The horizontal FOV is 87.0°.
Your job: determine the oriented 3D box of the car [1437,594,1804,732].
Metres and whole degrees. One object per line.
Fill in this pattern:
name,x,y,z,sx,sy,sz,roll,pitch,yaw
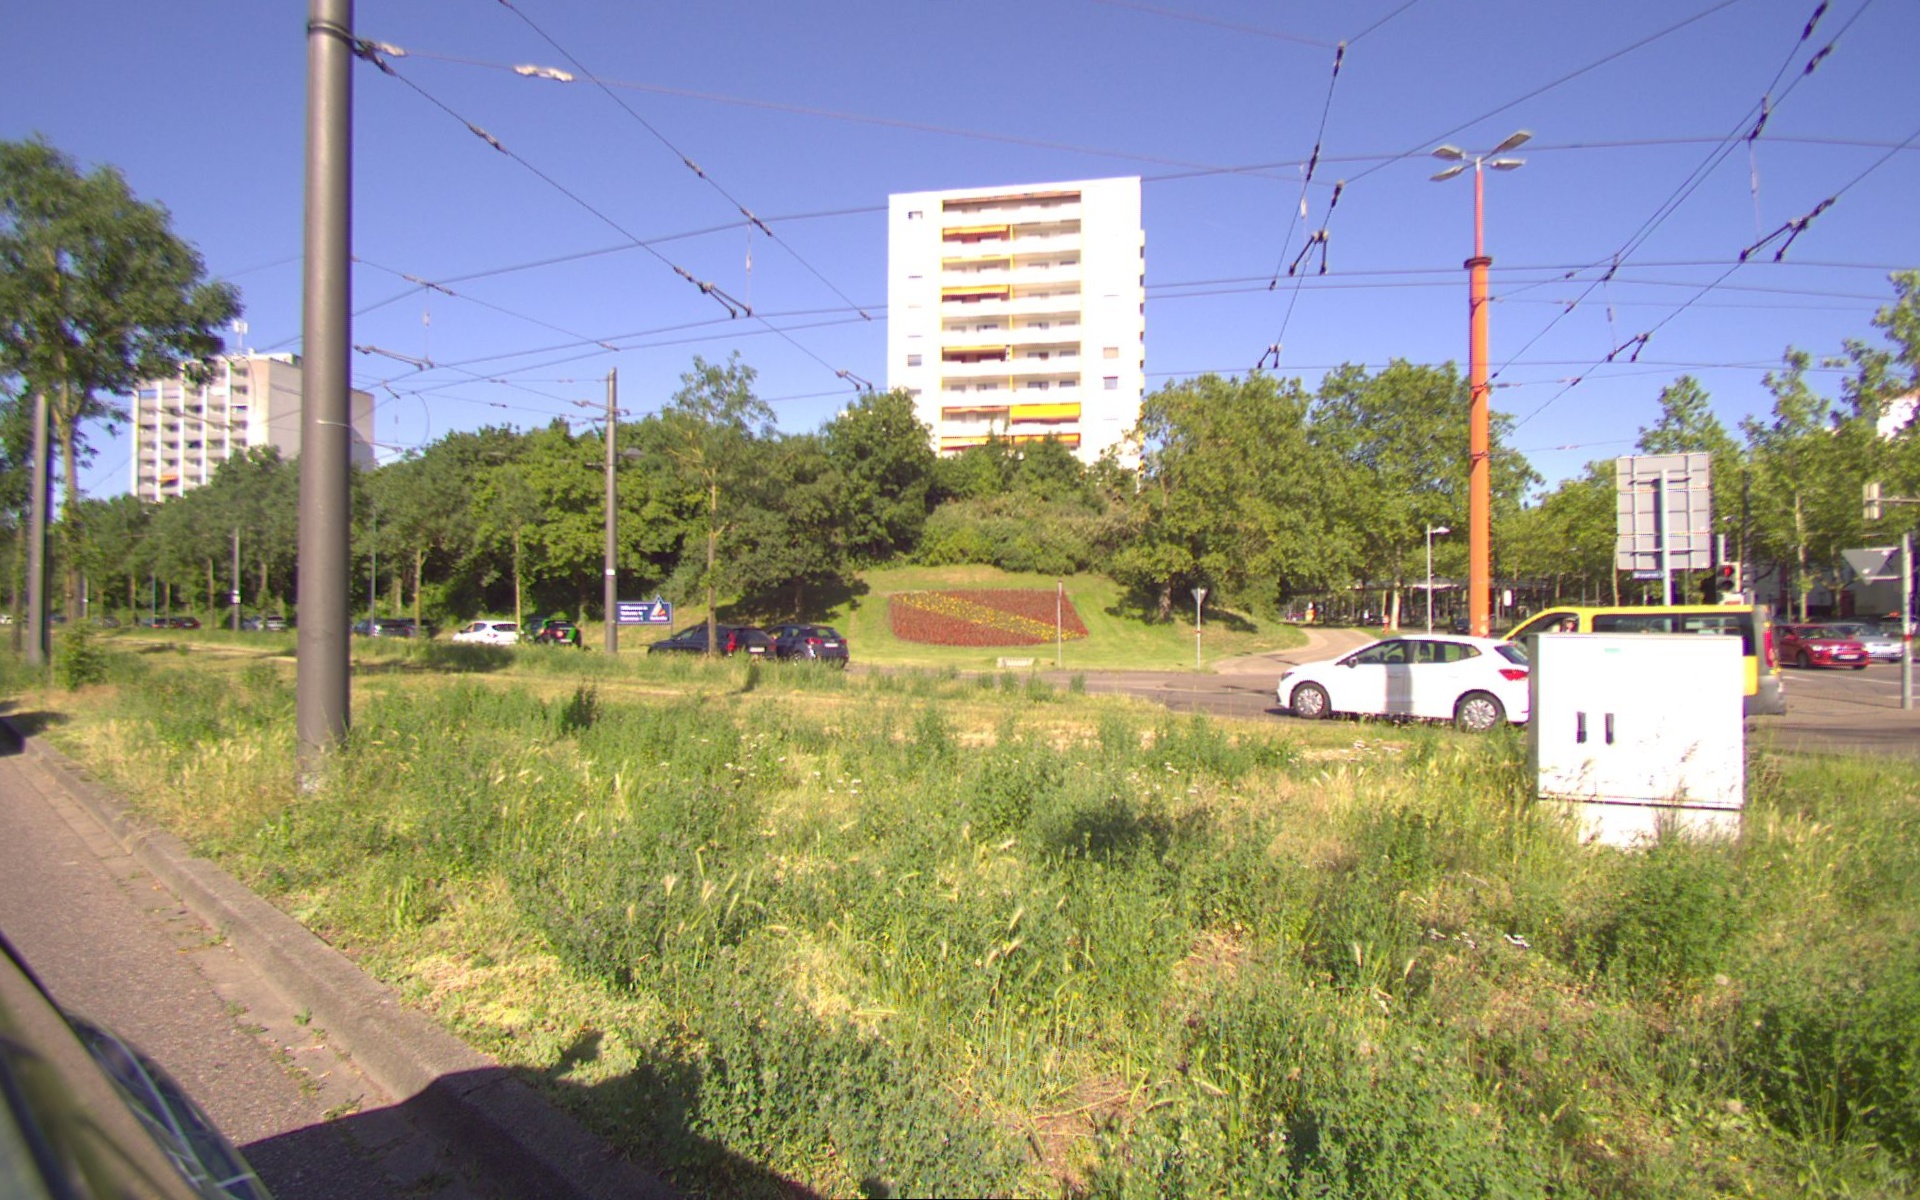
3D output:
car,10.897,0.980,16.962,4.905,1.981,1.972,-2,-2,42

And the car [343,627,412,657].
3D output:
car,-28.581,2.027,49.591,4.229,1.371,1.801,-1,-2,43

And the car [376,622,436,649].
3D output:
car,-29.943,1.914,54.663,4.001,1.386,1.717,-1,-2,44

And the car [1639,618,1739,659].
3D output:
car,30.639,1.578,42.675,1.810,1.648,4.236,0,-1,12

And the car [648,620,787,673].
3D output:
car,-7.089,1.299,29.363,4.308,1.427,1.776,-1,-2,42

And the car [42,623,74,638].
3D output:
car,-97.380,3.276,109.244,3.993,1.674,1.887,-1,-2,37

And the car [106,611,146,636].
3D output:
car,-69.856,1.983,84.724,3.998,2.029,1.973,-1,-2,41

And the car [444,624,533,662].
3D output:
car,-18.563,1.648,39.778,4.000,1.429,1.842,-1,-2,43

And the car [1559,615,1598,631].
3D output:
car,79.770,2.984,130.606,3.969,2.029,1.987,-1,-1,20

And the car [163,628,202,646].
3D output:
car,-64.119,3.015,83.417,3.998,1.475,1.779,-1,-2,41

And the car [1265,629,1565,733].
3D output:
car,7.107,1.185,16.050,4.020,1.418,1.671,-1,-2,42

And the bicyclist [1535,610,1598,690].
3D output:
bicyclist,12.138,0.993,20.267,0.719,1.557,0.770,0,-2,-20

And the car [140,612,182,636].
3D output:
car,-60.663,1.838,76.827,3.998,1.779,1.858,-1,-2,41

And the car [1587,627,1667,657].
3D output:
car,32.592,2.026,49.598,1.747,1.360,4.346,-1,-1,12

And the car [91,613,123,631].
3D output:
car,-84.852,2.174,100.676,3.998,1.779,1.858,-1,-2,41

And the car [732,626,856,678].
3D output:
car,-5.327,1.595,32.104,1.767,1.519,4.243,1,-2,-45

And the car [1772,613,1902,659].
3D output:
car,31.732,1.284,36.783,1.840,1.557,4.242,0,-1,15

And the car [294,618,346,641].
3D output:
car,-40.619,1.829,64.236,4.000,1.409,1.822,-1,-2,43

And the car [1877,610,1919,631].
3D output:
car,64.887,1.393,68.399,1.770,1.420,4.010,1,-1,-36

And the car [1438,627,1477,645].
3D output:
car,40.650,2.917,82.780,1.747,1.360,4.347,-1,-1,11

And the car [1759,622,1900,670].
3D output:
car,28.236,1.455,33.047,1.668,1.446,4.050,0,-1,11

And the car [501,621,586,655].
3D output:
car,-18.176,1.638,44.140,3.998,1.429,1.843,-1,-2,41

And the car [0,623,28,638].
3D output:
car,-107.120,3.404,114.187,3.985,1.674,1.890,-1,-2,31

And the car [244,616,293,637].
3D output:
car,-49.196,1.867,72.001,3.998,1.497,1.972,-1,-2,41
